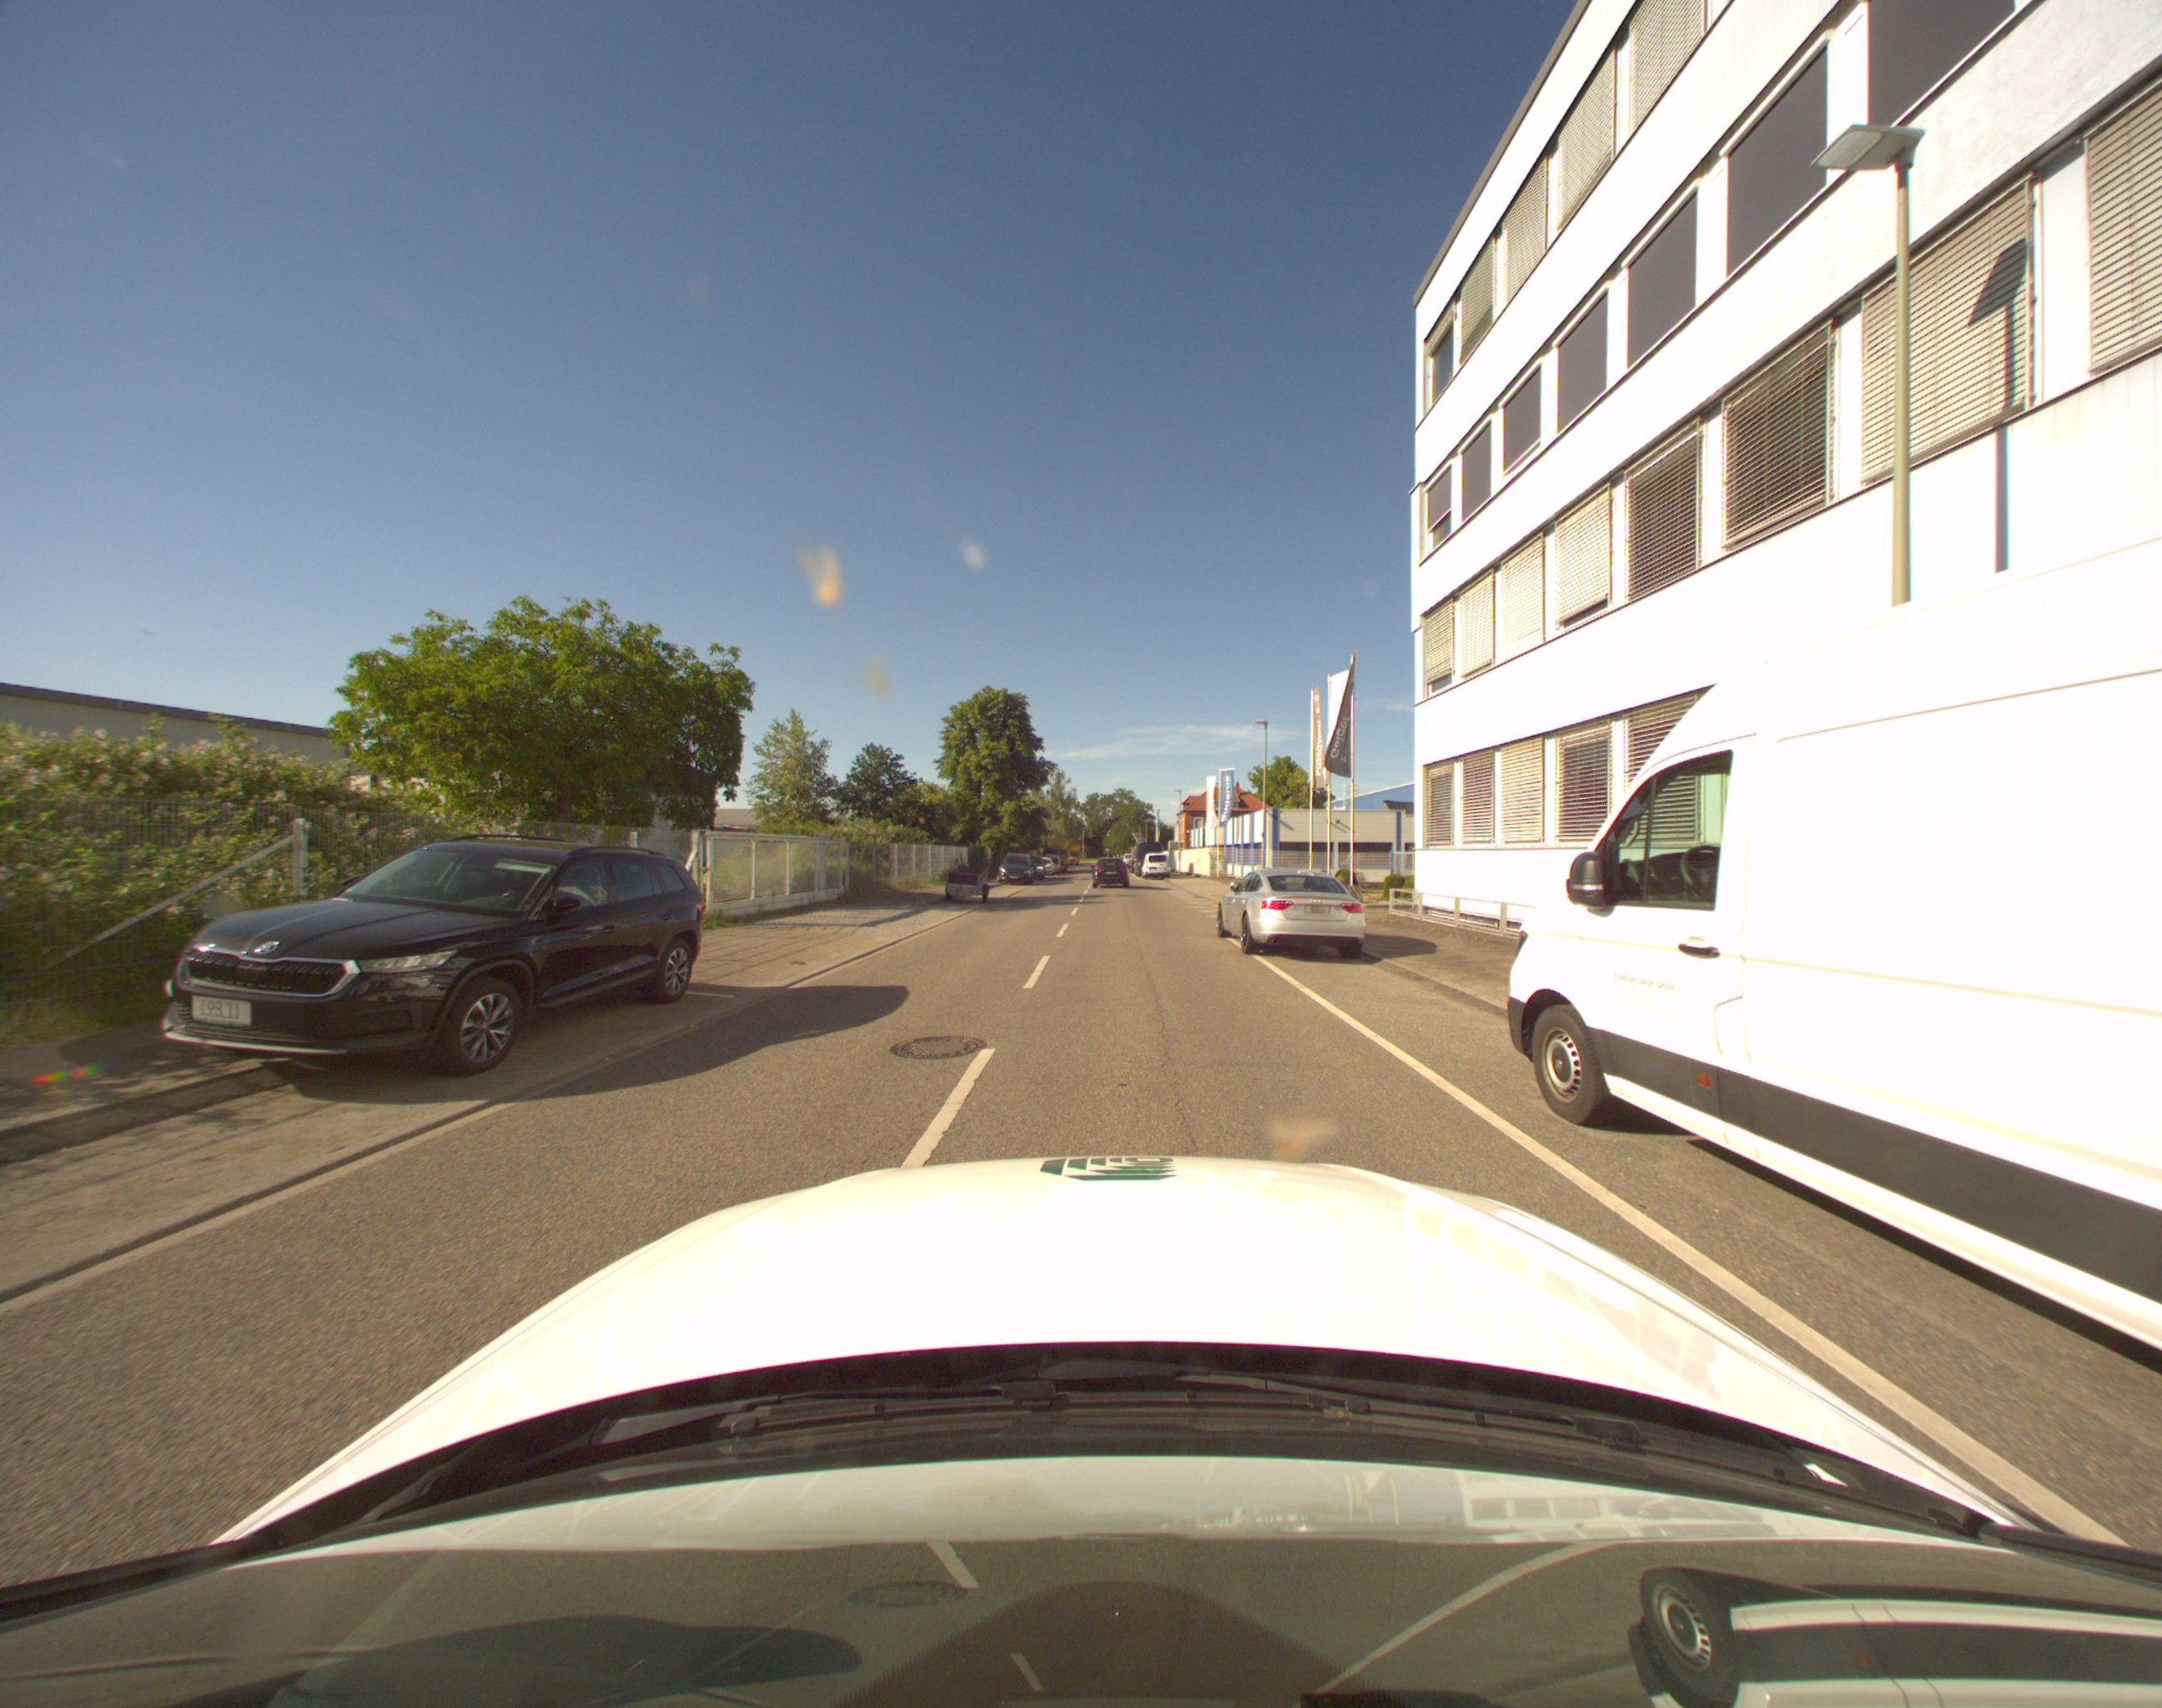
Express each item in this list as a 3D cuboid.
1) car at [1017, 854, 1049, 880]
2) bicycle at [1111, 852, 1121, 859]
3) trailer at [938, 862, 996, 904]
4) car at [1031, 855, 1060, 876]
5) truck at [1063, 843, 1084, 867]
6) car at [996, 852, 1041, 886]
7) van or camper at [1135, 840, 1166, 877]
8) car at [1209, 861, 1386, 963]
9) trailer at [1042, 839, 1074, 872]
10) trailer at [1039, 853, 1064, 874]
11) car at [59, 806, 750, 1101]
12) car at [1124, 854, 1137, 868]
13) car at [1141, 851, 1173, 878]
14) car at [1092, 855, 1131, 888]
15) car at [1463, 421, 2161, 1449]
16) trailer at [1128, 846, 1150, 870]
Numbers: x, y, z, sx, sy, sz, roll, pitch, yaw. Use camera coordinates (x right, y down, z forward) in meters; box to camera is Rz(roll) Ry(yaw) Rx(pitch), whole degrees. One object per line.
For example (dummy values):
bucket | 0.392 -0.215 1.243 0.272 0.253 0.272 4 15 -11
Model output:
car | -3.370 0.886 57.821 1.902 1.662 4.462 5 0 0
bicycle | 6.454 0.204 150.101 0.809 1.268 2.235 3 -1 -33
trailer | -4.002 0.999 28.939 1.471 1.354 3.080 2 0 2
car | -3.075 0.956 71.197 1.900 1.593 5.028 5 0 3
truck | -1.176 0.073 131.637 2.621 3.504 8.662 6 1 2
car | -3.523 0.828 46.913 1.784 1.730 4.807 4 0 4
van or camper | 5.480 0.396 65.224 2.132 2.759 6.164 2 -1 2
car | 3.559 0.872 14.436 1.887 1.405 5.126 2 -1 2
trailer | -2.421 0.187 88.035 2.981 3.443 8.162 0 0 1
trailer | -2.775 0.865 77.121 1.986 1.942 4.417 0 0 2
car | -5.256 0.617 7.634 2.023 1.694 5.107 4 0 1
car | 7.555 1.044 125.288 1.867 2.014 5.163 2 -1 3
car | 5.448 0.736 58.776 1.879 1.797 5.105 2 -1 1
car | 1.524 0.805 39.793 1.839 1.530 4.003 0 0 3
car | 3.733 0.183 2.881 1.986 2.597 6.052 -1 1 1
trailer | 6.751 0.491 95.239 2.450 2.673 5.704 0 0 2
